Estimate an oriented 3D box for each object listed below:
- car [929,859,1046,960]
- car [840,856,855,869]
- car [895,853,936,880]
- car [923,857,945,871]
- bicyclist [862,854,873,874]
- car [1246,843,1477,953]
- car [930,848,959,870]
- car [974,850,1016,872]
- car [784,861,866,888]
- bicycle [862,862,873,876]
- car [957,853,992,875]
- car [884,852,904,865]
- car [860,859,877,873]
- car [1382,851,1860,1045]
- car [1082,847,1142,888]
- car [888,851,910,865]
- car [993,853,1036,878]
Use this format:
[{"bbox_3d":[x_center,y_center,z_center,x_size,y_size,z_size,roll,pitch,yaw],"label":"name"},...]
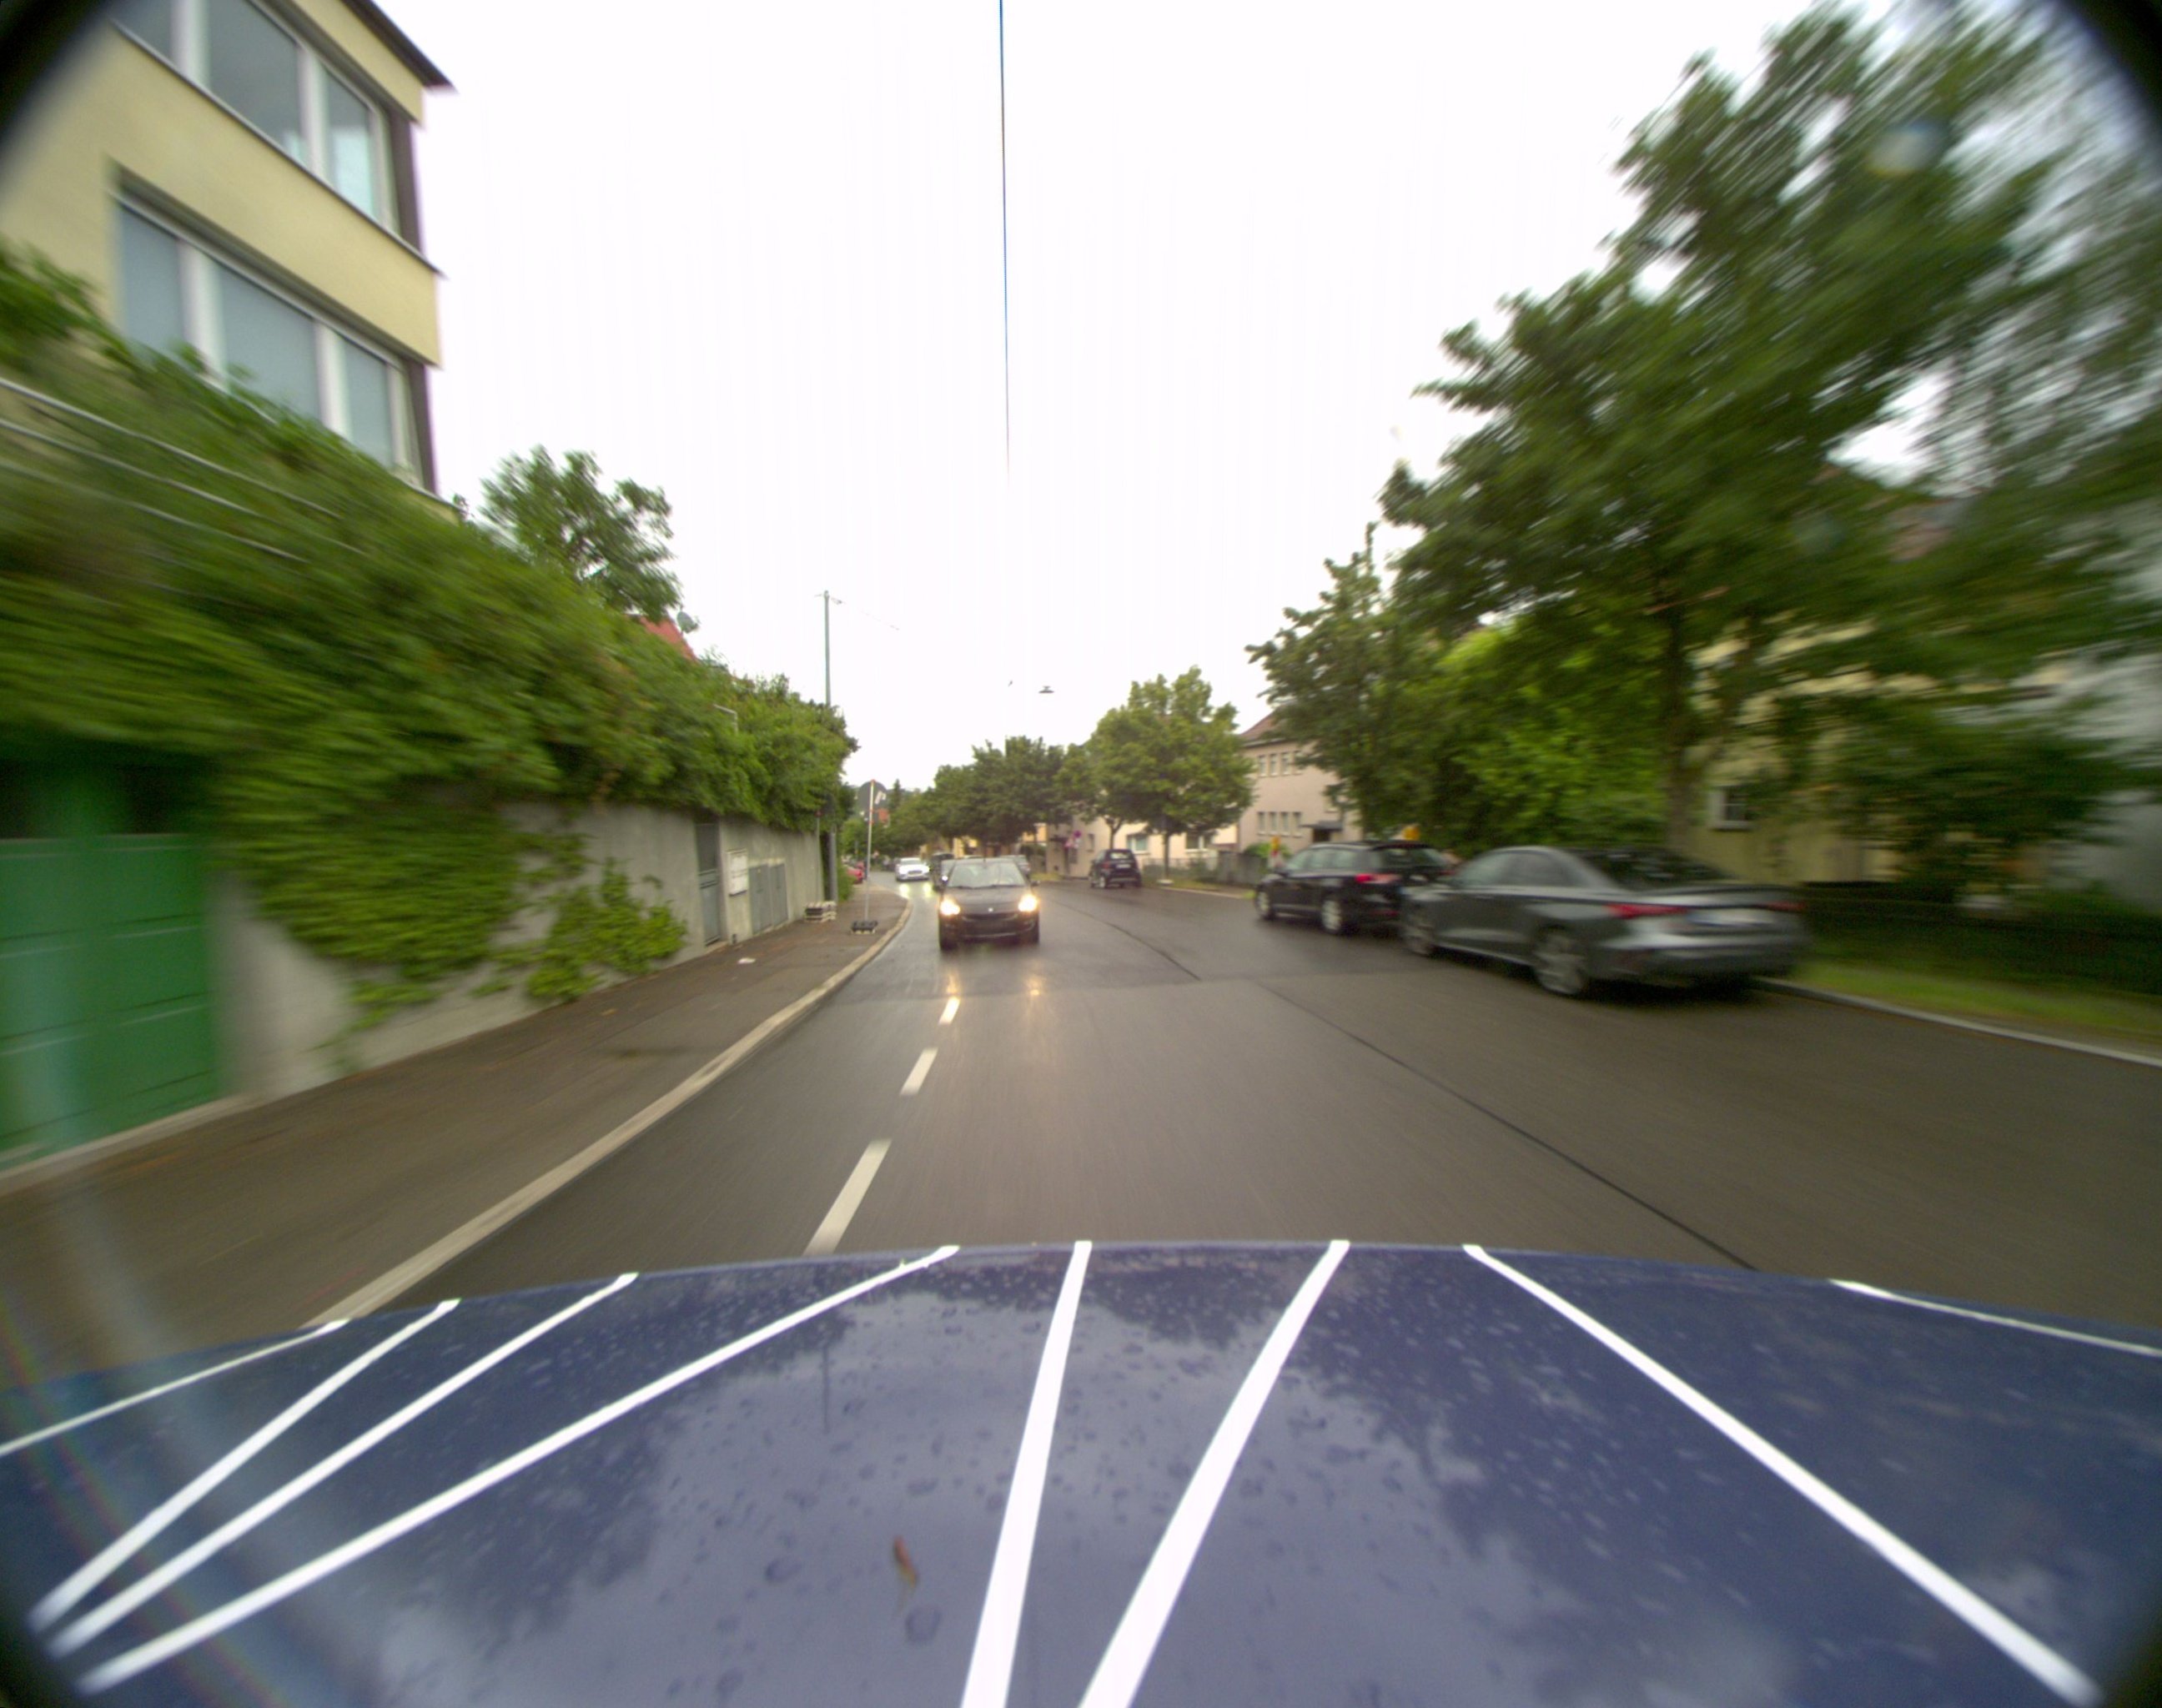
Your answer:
[{"bbox_3d":[-1.788,0.876,14.025,1.748,1.434,4.355,-3,1,-9],"label":"car"},{"bbox_3d":[-38.663,1.424,125.802,2.002,2.002,3.992,-2,0,-24],"label":"car"},{"bbox_3d":[-11.872,0.860,54.204,2.021,1.728,4.590,-4,1,-22],"label":"car"},{"bbox_3d":[-14.889,1.009,76.708,1.545,1.365,3.533,0,0,-22],"label":"car"},{"bbox_3d":[-17.238,0.823,61.312,0.686,1.529,0.783,-5,3,-23],"label":"bicyclist"},{"bbox_3d":[4.526,0.595,13.116,1.738,1.475,4.526,-3,1,-9],"label":"car"},{"bbox_3d":[-12.866,0.482,71.561,1.826,2.000,4.554,0,0,-22],"label":"car"},{"bbox_3d":[-6.163,0.456,53.783,1.829,1.500,4.730,-1,1,-21],"label":"car"},{"bbox_3d":[-14.144,1.110,42.235,4.186,1.398,1.831,0,0,-16],"label":"car"},{"bbox_3d":[-17.202,1.188,61.289,0.591,1.093,1.525,-4,2,-22],"label":"bicycle"},{"bbox_3d":[-8.295,0.732,59.057,1.815,1.604,4.501,-1,0,-20],"label":"car"},{"bbox_3d":[-23.590,0.521,95.832,1.867,1.563,3.901,-1,1,-22],"label":"car"},{"bbox_3d":[-30.902,1.719,110.523,2.001,2.002,3.995,-2,0,-12],"label":"car"},{"bbox_3d":[5.125,0.722,8.175,1.711,1.374,4.527,-3,1,-4],"label":"car"},{"bbox_3d":[1.199,0.500,30.842,1.524,1.526,3.032,-2,1,-16],"label":"car"},{"bbox_3d":[-21.924,0.508,91.375,1.913,1.591,4.081,-2,1,-22],"label":"car"},{"bbox_3d":[-4.325,0.696,49.062,1.724,1.537,4.286,0,0,-20],"label":"car"}]
